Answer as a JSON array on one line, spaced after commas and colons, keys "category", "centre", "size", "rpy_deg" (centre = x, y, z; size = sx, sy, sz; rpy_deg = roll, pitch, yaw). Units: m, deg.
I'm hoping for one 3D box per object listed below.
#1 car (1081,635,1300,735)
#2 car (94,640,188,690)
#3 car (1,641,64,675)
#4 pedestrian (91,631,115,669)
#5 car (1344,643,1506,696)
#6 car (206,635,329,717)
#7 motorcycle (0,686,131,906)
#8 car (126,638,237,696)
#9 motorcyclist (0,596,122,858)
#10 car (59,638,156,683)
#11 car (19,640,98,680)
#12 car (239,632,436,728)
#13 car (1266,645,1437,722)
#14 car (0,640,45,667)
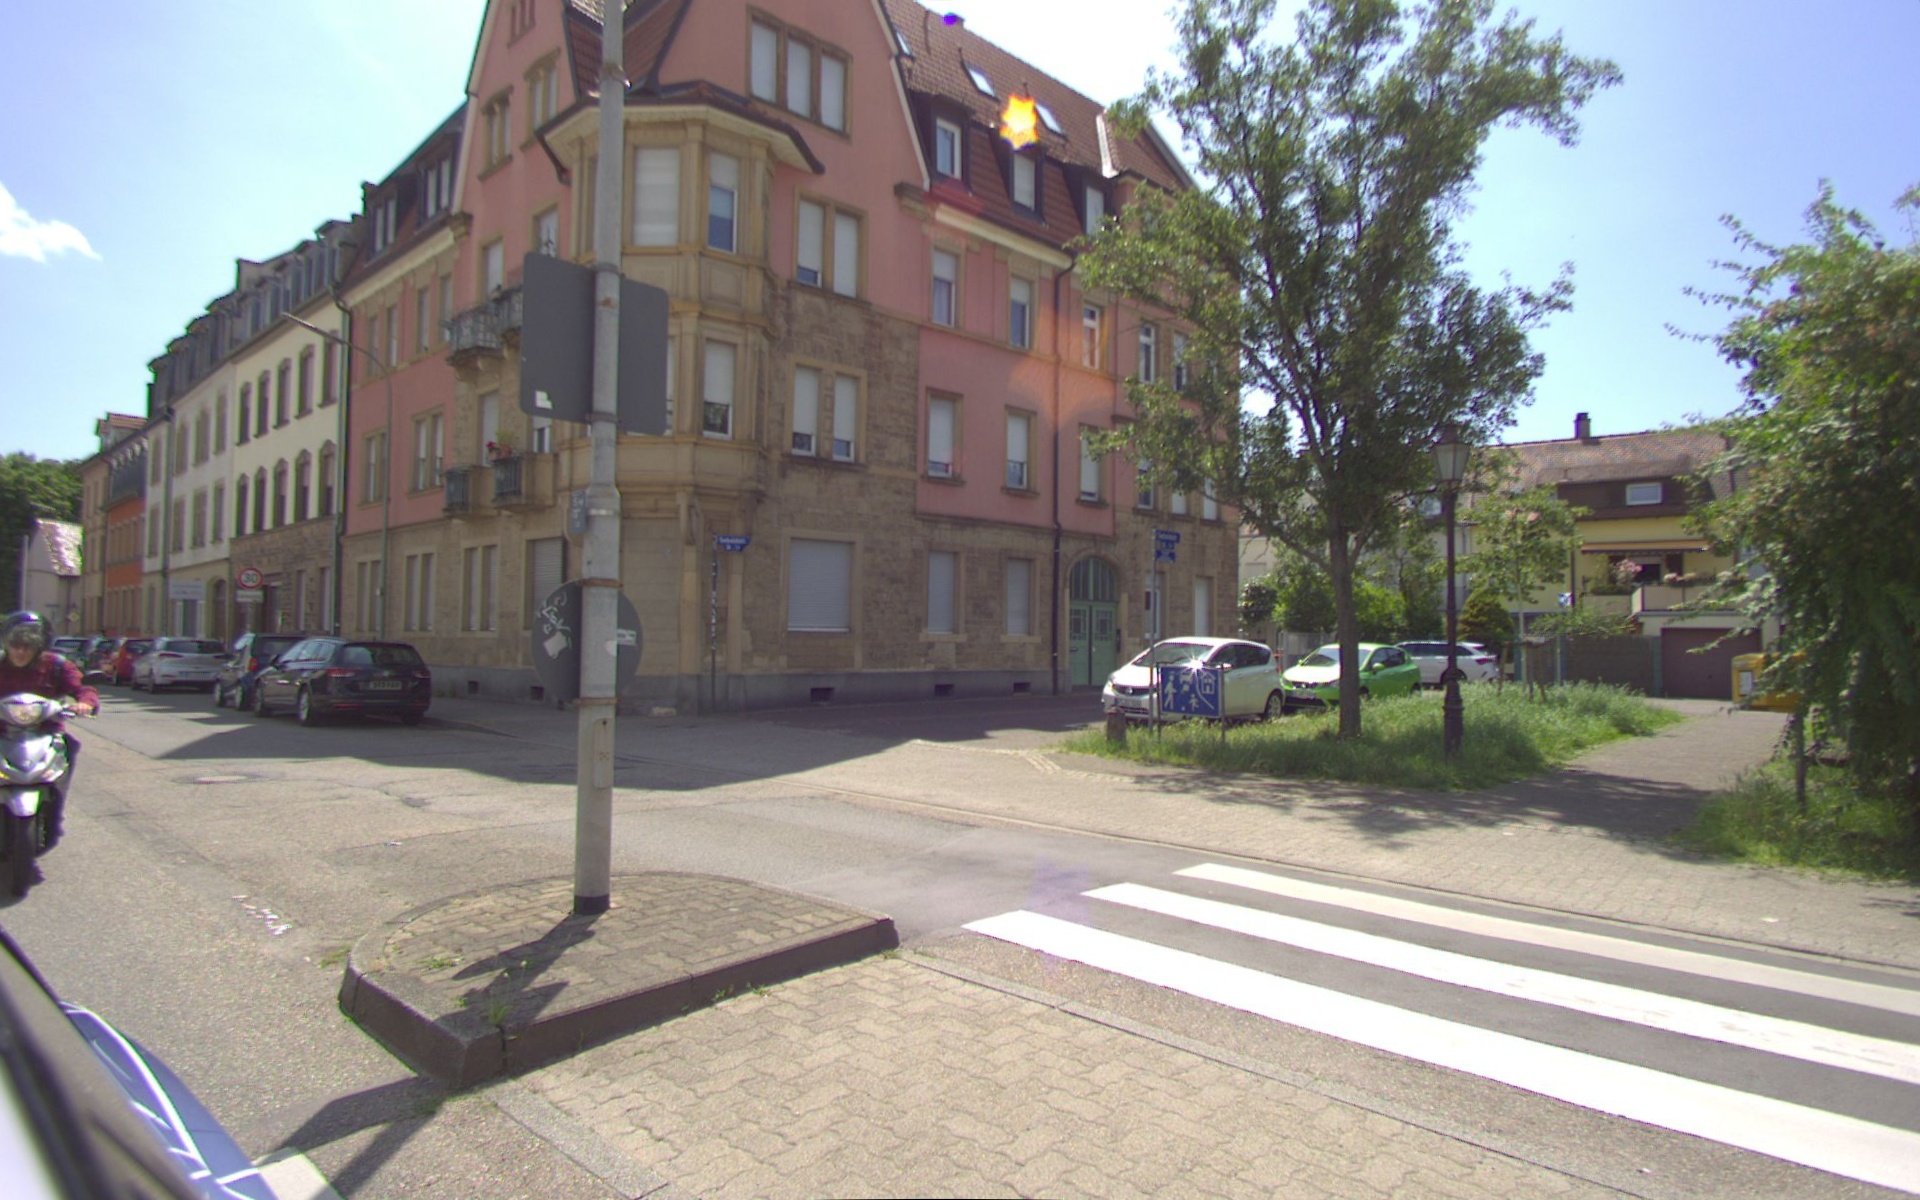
[{"category": "car", "centre": [4.076, 1.376, 17.583], "size": [3.940, 1.514, 1.870], "rpy_deg": [2, -3, -44]}, {"category": "car", "centre": [-25.061, 1.964, 30.947], "size": [3.493, 1.453, 1.582], "rpy_deg": [-2, -4, 41]}, {"category": "car", "centre": [-43.059, 2.680, 46.962], "size": [3.851, 1.470, 1.692], "rpy_deg": [-2, -5, 41]}, {"category": "pedestrian", "centre": [-41.213, 2.391, 48.686], "size": [0.763, 1.784, 0.760], "rpy_deg": [-2, -2, 41]}, {"category": "car", "centre": [14.250, 2.095, 31.113], "size": [4.277, 1.466, 1.652], "rpy_deg": [-1, -1, 36]}, {"category": "car", "centre": [-14.233, 1.515, 20.767], "size": [2.694, 1.534, 1.421], "rpy_deg": [-1, -4, 41]}, {"category": "motorcycle", "centre": [-5.665, 1.096, 6.074], "size": [1.991, 1.063, 0.750], "rpy_deg": [-2, -3, 42]}, {"category": "car", "centre": [-20.896, 1.776, 27.124], "size": [4.017, 1.442, 1.617], "rpy_deg": [-2, -5, 42]}, {"category": "motorcyclist", "centre": [-5.633, 0.722, 6.054], "size": [1.020, 1.451, 0.782], "rpy_deg": [-2, -3, 41]}, {"category": "car", "centre": [-29.126, 2.031, 34.545], "size": [4.216, 1.449, 1.853], "rpy_deg": [-2, -4, 41]}, {"category": "car", "centre": [-36.451, 2.379, 40.882], "size": [4.380, 1.522, 1.858], "rpy_deg": [-2, -4, 42]}, {"category": "car", "centre": [-11.129, 1.333, 17.937], "size": [4.634, 1.469, 1.763], "rpy_deg": [-1, -4, 43]}, {"category": "car", "centre": [8.076, 1.661, 20.720], "size": [3.940, 1.409, 1.805], "rpy_deg": [4, -4, -44]}, {"category": "car", "centre": [-51.784, 2.926, 55.637], "size": [3.855, 1.453, 1.710], "rpy_deg": [-2, -4, 41]}]
